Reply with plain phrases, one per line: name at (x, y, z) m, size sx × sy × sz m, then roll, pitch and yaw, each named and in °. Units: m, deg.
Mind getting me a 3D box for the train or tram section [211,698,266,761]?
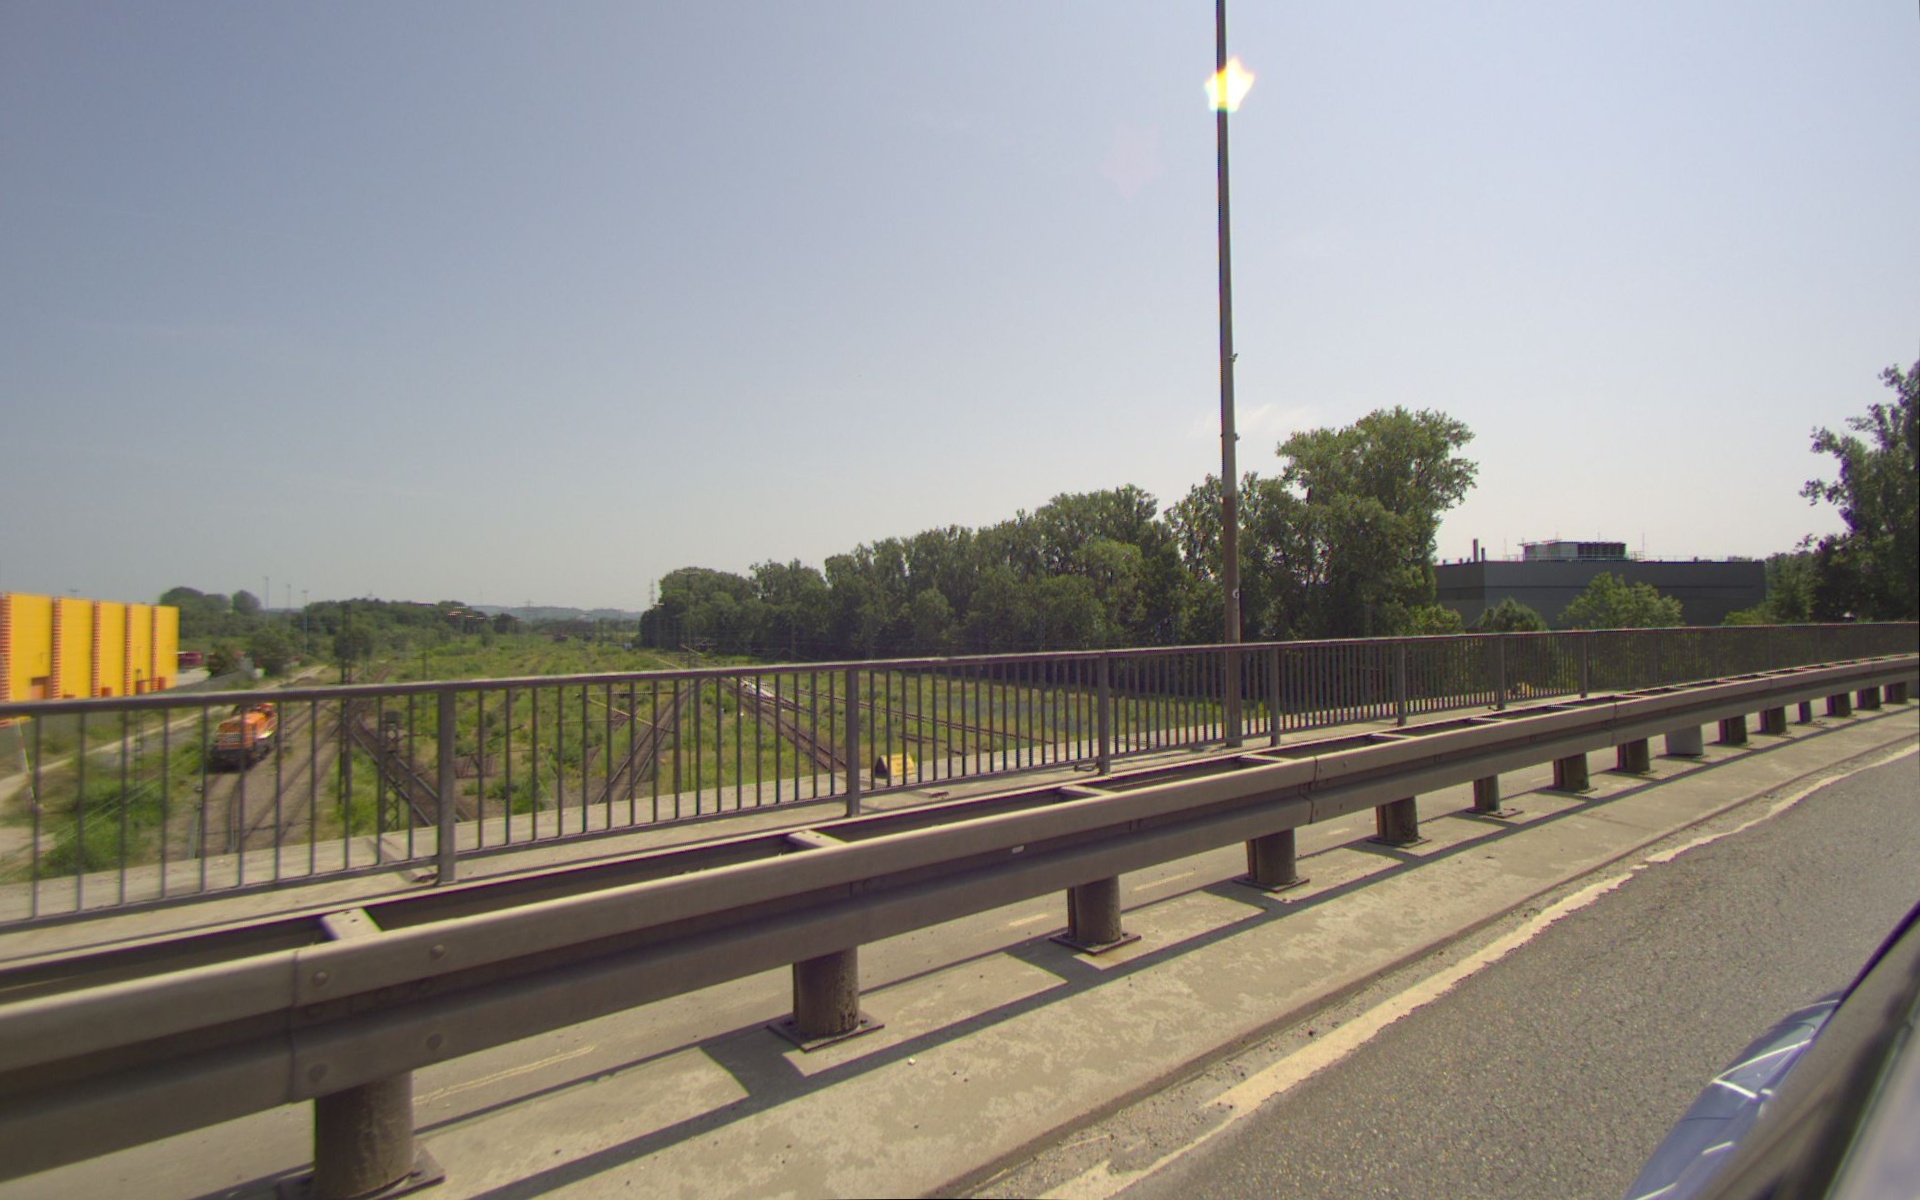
train or tram section at (-54.806, 9.646, 77.095) m, size 2.195 × 3.738 × 14.012 m, roll 1°, pitch -3°, yaw -31°
